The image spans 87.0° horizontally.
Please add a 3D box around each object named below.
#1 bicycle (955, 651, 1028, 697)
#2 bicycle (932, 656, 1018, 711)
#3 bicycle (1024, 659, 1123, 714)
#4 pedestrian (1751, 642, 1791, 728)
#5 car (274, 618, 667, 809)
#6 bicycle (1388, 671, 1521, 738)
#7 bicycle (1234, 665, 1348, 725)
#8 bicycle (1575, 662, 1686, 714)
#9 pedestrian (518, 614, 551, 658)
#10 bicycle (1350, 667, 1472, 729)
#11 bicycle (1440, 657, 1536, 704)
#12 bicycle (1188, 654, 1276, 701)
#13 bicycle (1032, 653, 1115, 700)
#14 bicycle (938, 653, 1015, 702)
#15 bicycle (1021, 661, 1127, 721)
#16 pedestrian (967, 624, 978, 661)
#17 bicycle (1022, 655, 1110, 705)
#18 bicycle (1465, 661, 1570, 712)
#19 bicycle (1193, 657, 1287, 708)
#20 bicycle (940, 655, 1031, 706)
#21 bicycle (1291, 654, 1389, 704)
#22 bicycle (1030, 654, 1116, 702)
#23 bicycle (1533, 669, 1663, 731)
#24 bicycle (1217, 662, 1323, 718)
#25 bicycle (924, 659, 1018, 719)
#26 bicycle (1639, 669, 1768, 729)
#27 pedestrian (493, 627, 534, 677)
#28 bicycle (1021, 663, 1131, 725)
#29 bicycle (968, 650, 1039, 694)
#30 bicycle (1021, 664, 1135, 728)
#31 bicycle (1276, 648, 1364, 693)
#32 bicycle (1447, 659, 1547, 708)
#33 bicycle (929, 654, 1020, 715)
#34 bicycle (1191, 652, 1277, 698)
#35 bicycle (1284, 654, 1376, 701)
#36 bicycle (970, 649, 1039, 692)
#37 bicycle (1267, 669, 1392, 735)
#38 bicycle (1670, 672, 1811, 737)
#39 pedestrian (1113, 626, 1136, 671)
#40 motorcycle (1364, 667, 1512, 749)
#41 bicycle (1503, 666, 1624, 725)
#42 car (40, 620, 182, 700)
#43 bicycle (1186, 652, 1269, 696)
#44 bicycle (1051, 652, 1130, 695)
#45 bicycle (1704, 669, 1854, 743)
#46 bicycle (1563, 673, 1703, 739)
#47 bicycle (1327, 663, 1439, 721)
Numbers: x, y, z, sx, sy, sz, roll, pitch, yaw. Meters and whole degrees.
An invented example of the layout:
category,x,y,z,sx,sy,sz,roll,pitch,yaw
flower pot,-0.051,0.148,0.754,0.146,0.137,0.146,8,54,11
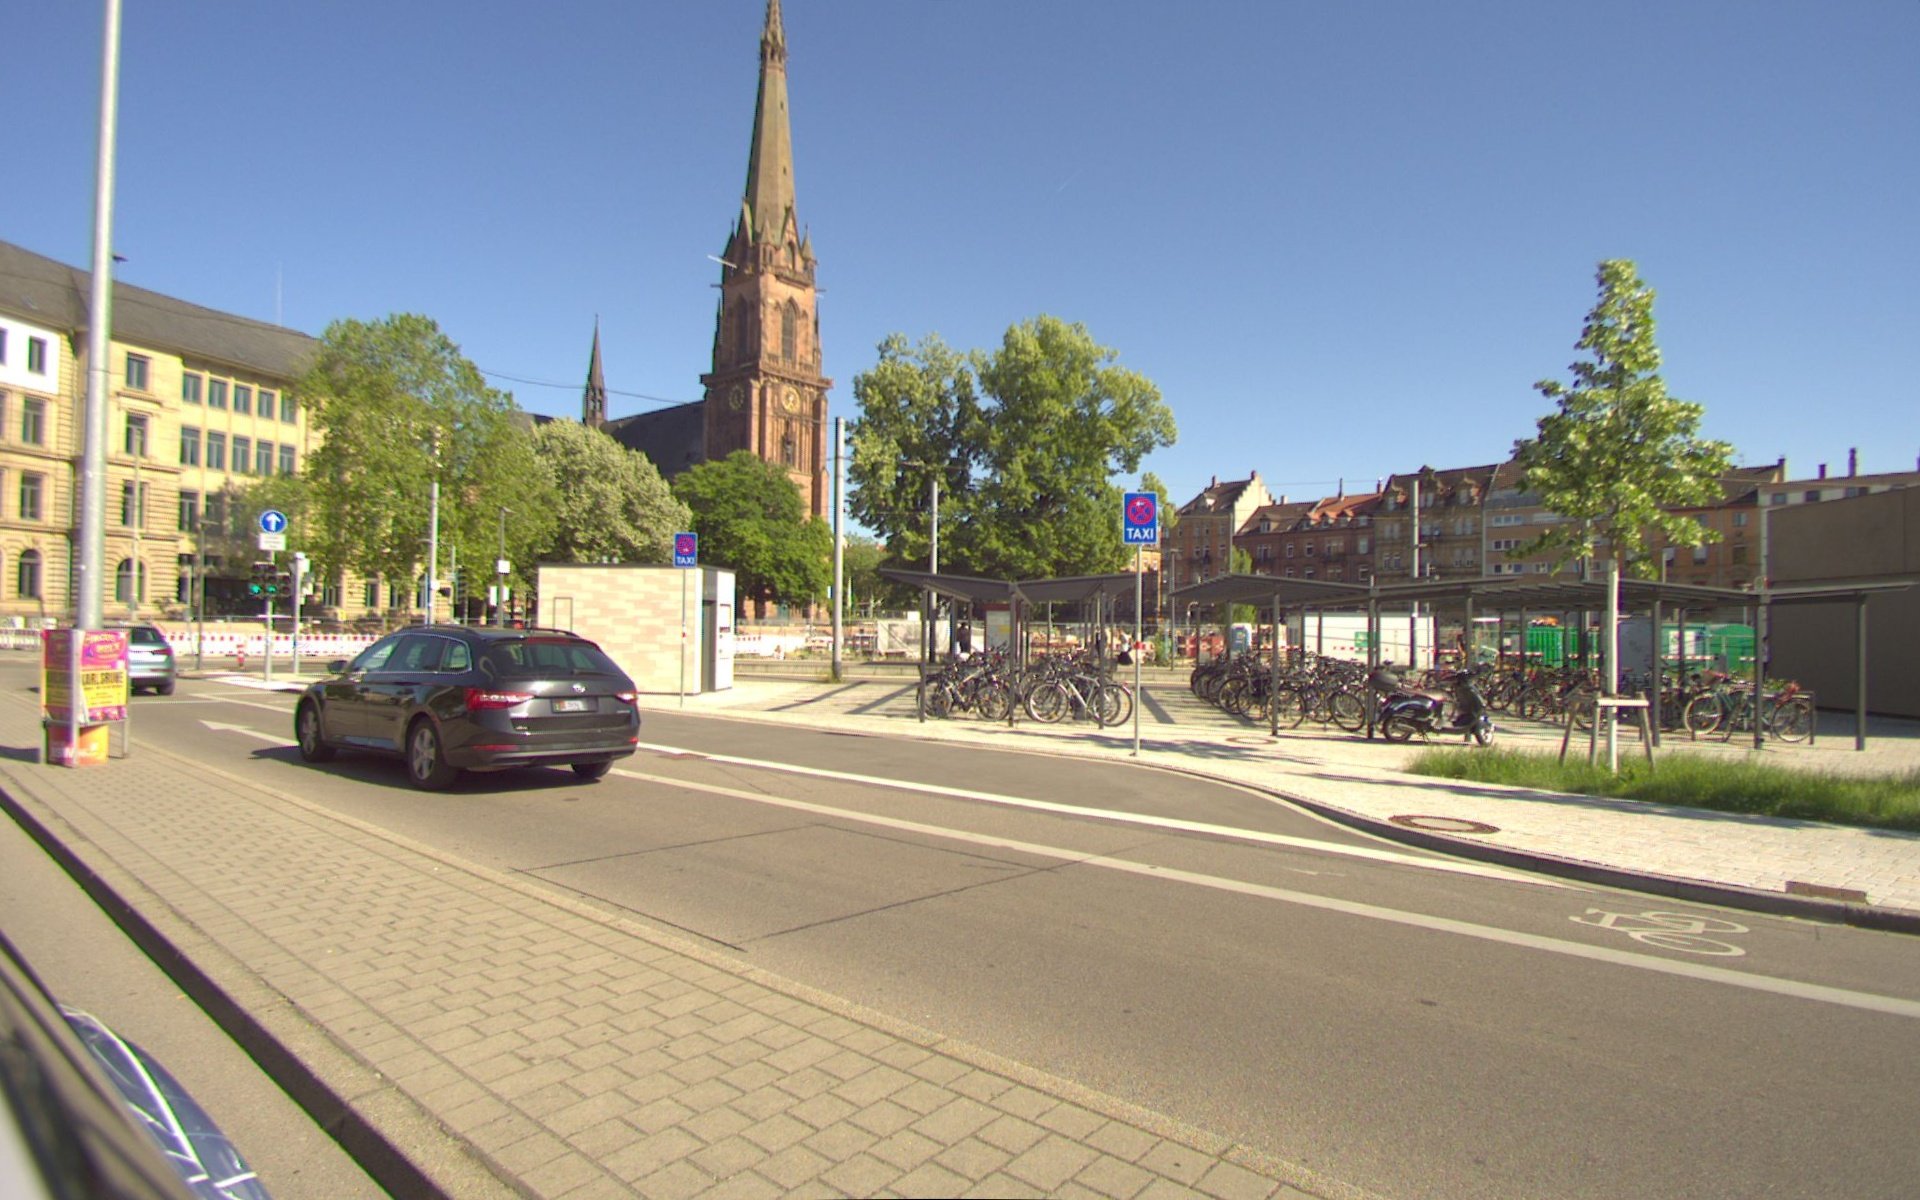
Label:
category,x,y,z,sx,sy,sz,roll,pitch,yaw
bicycle,0.745,1.712,23.478,1.652,1.016,0.456,0,-2,8
bicycle,0.304,1.633,19.884,1.652,1.016,0.456,0,-2,8
bicycle,2.195,1.662,19.581,1.882,1.016,0.456,0,-2,8
pedestrian,19.836,2.066,24.752,0.718,2.029,0.678,-1,-4,41
car,-5.071,0.969,10.190,4.571,1.511,1.771,-1,-3,39
bicycle,8.027,1.694,16.490,1.882,1.016,0.456,0,-2,8
bicycle,5.898,1.686,18.089,1.882,1.016,0.456,0,-2,8
bicycle,13.872,1.821,20.967,1.882,1.016,0.456,0,-2,8
pedestrian,-17.613,1.481,41.926,0.802,1.793,0.965,-1,-2,40
bicycle,7.893,1.711,17.759,1.882,1.016,0.456,0,-2,8
bicycle,12.078,1.839,23.191,1.882,1.016,0.456,0,-2,8
bicycle,6.148,1.741,22.939,1.882,1.016,0.456,0,-2,8
bicycle,2.605,1.750,23.300,1.882,1.016,0.456,0,-2,8
bicycle,0.370,1.693,22.221,1.652,1.016,0.456,0,-2,8
bicycle,2.053,1.636,18.257,1.882,1.016,0.456,0,-2,8
pedestrian,0.584,1.998,47.612,0.399,1.734,0.419,1,-2,-11
bicycle,2.296,1.725,21.917,1.882,1.016,0.456,0,-2,8
bicycle,11.713,1.817,21.309,1.882,1.016,0.456,0,-2,8
bicycle,5.964,1.750,21.606,1.882,1.016,0.456,0,-2,8
bicycle,0.542,1.678,21.223,1.882,1.016,0.456,0,-2,8
bicycle,8.056,1.663,21.516,1.882,1.016,0.456,0,-2,8
bicycle,2.510,1.729,22.530,1.882,1.016,0.456,0,-2,8
bicycle,11.100,1.735,17.638,1.882,1.016,0.456,0,-2,8
bicycle,5.896,1.711,19.319,1.882,1.016,0.456,0,-2,8
bicycle,0.200,1.588,18.187,1.652,1.016,0.456,0,-2,8
bicycle,13.468,1.779,18.361,1.882,1.016,0.456,0,-2,8
pedestrian,-16.565,1.913,37.563,1.130,1.793,0.965,-1,-2,40
bicycle,2.018,1.627,17.670,1.882,1.016,0.456,0,-2,8
bicycle,1.041,1.718,24.223,1.652,1.016,0.456,0,-2,8
bicycle,1.988,1.605,17.110,1.882,1.016,0.456,0,-2,8
bicycle,8.485,1.655,23.906,1.882,1.016,0.456,0,-2,8
bicycle,11.783,1.827,22.240,1.882,1.016,0.456,0,-2,8
bicycle,0.279,1.562,18.773,1.652,1.069,0.456,0,-2,8
bicycle,6.365,1.734,23.564,1.882,1.016,0.456,0,-2,8
bicycle,8.315,1.738,22.814,1.882,1.016,0.456,0,-2,8
bicycle,1.106,1.732,24.939,1.652,1.016,0.456,0,-2,8
bicycle,6.120,1.685,16.836,1.882,1.016,0.456,0,-2,8
bicycle,13.127,1.746,17.062,1.882,1.016,0.456,0,-2,8
pedestrian,6.639,1.961,40.939,0.792,1.793,0.977,0,-2,3
motorcycle,7.160,1.605,15.222,1.924,1.160,0.516,0,-2,6
bicycle,11.163,1.759,18.754,1.882,1.016,0.456,0,-2,8
car,-18.445,1.249,21.931,4.241,1.554,1.835,-1,-4,44
bicycle,6.392,1.765,24.222,1.882,1.016,0.456,0,-2,8
bicycle,3.161,1.779,24.595,1.882,1.016,0.456,0,-2,8
bicycle,13.081,1.687,16.202,1.882,1.106,0.456,0,-2,8
bicycle,10.971,1.720,16.533,1.882,1.016,0.456,0,-2,8
bicycle,7.917,1.715,18.992,1.882,1.016,0.456,0,-2,8
